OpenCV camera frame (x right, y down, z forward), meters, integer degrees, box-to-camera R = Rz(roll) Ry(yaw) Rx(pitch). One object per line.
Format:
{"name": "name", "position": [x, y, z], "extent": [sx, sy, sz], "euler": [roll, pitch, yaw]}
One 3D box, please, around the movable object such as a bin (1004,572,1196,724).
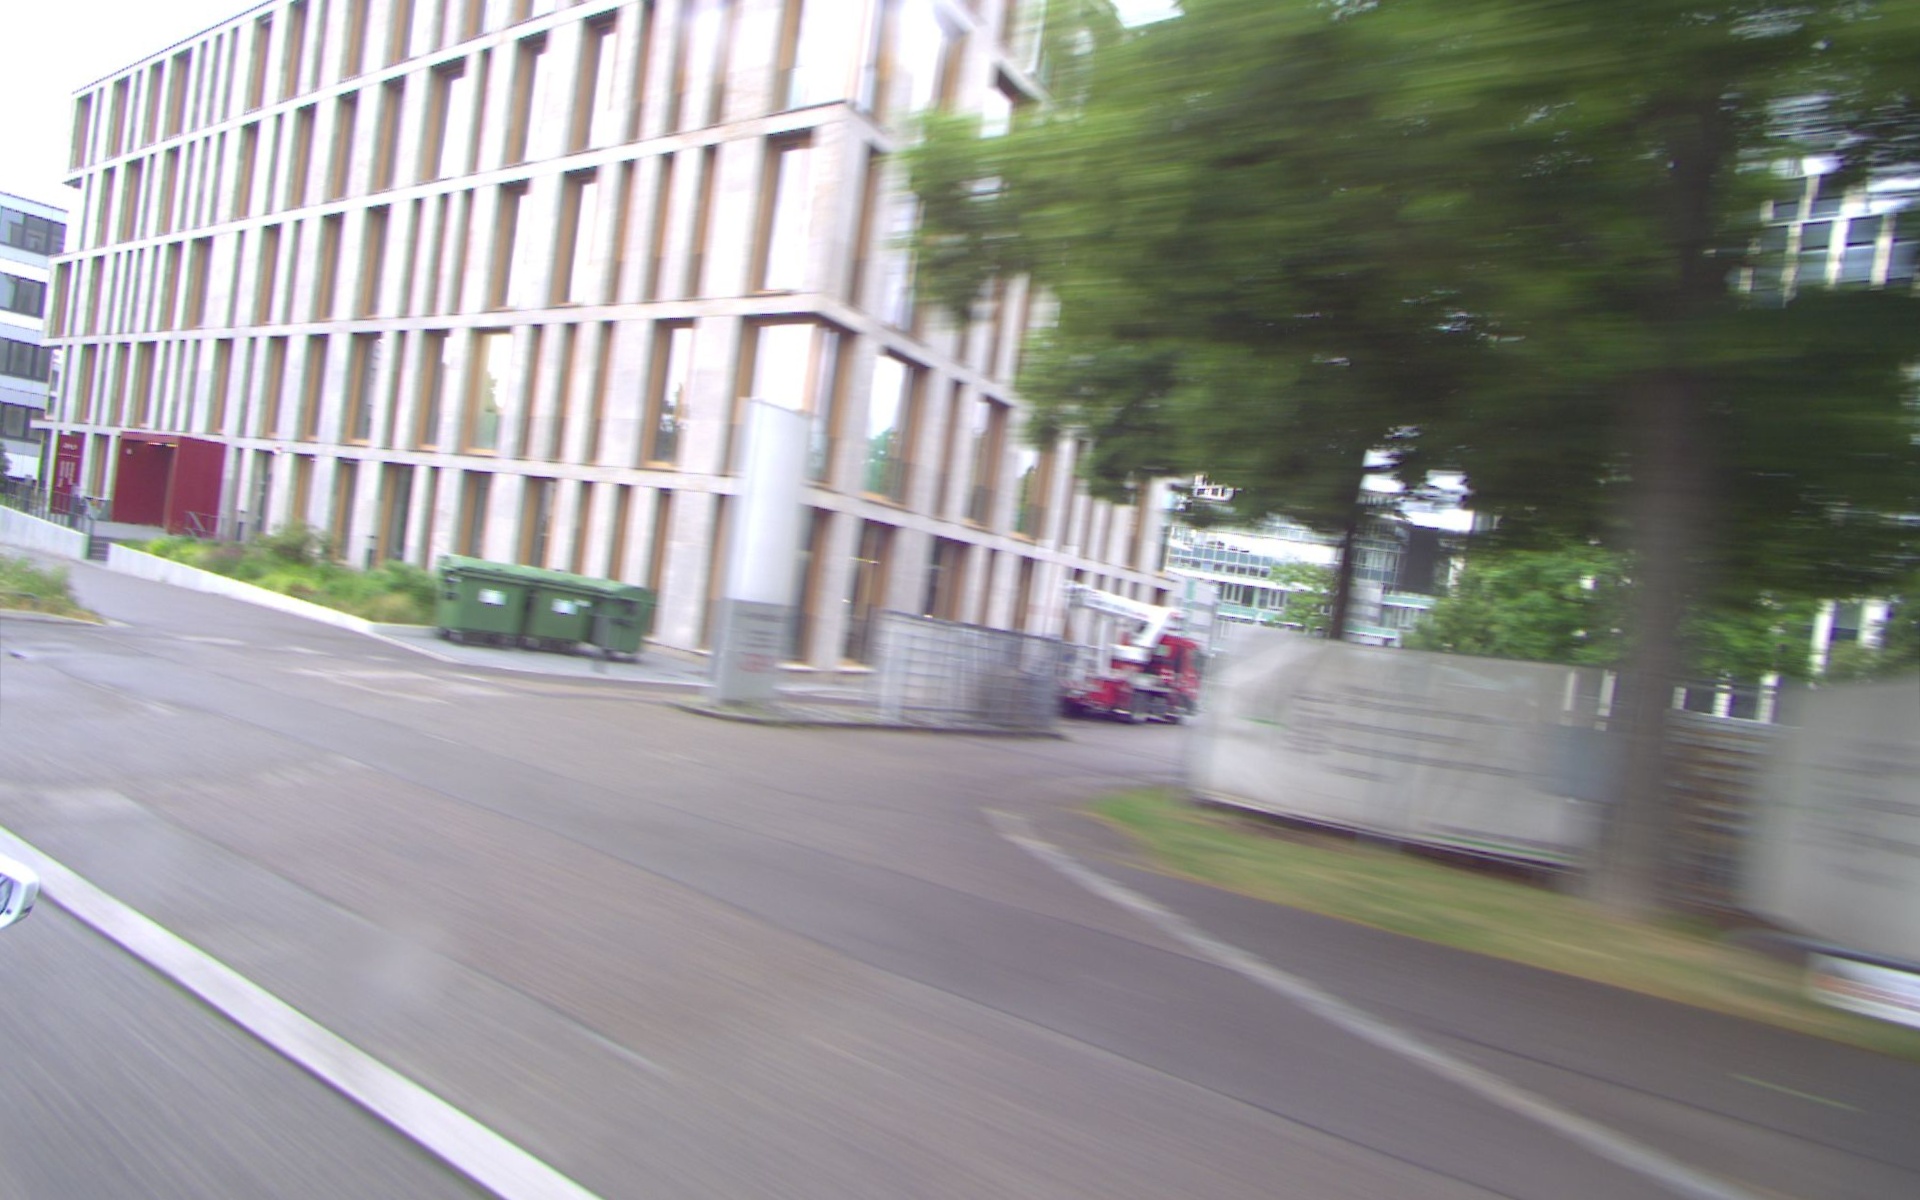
{"name": "movable object such as a bin", "position": [4.034, 1.476, 27.611], "extent": [2.585, 3.486, 6.366], "euler": [6, -3, 31]}

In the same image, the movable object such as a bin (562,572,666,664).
{"name": "movable object such as a bin", "position": [-6.556, 0.337, 19.055], "extent": [1.368, 1.521, 1.195], "euler": [6, -2, 41]}

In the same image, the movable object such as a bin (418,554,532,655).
{"name": "movable object such as a bin", "position": [-8.256, 0.080, 17.131], "extent": [1.096, 1.473, 1.247], "euler": [5, -5, 43]}

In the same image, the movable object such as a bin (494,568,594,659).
{"name": "movable object such as a bin", "position": [-7.529, 0.249, 18.214], "extent": [1.134, 1.414, 1.098], "euler": [5, -5, 42]}
